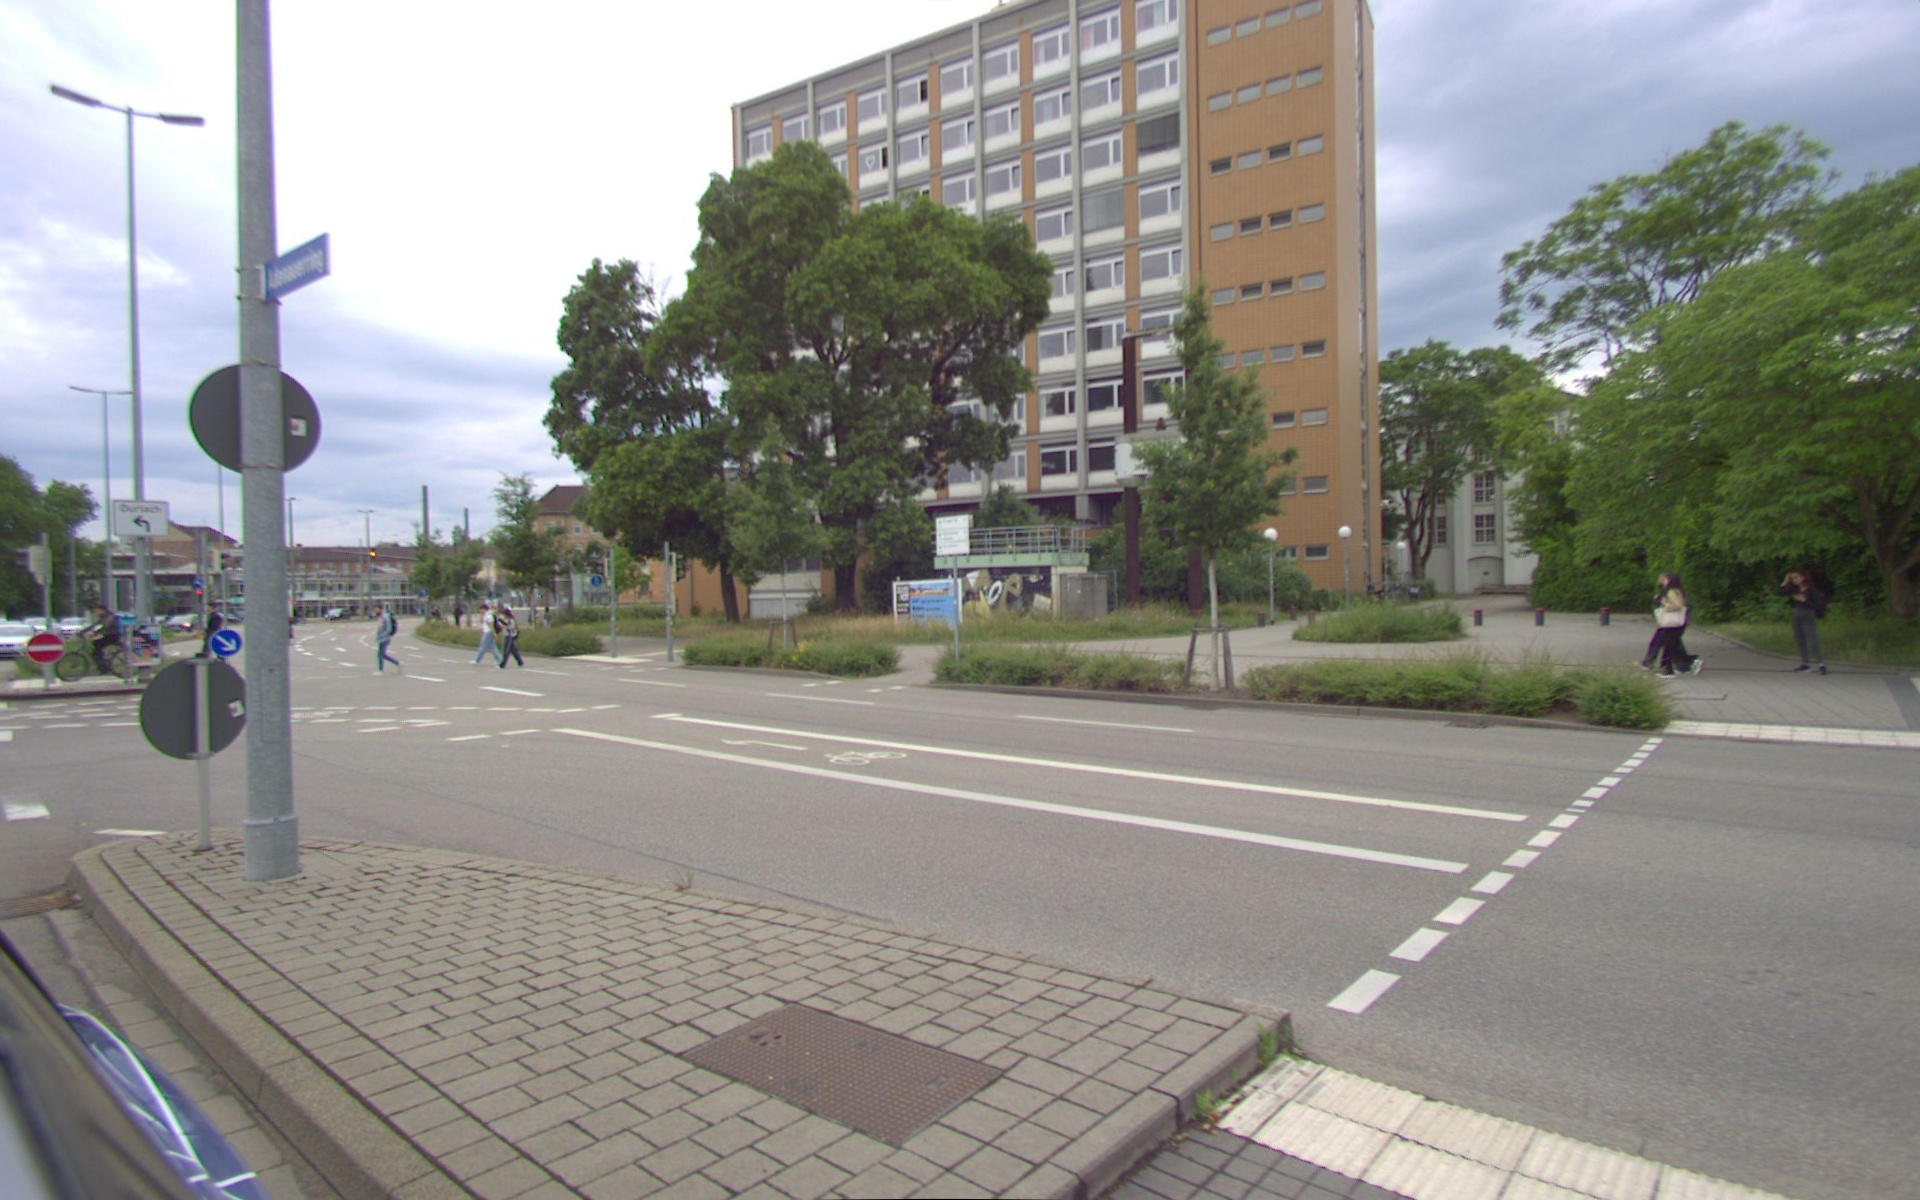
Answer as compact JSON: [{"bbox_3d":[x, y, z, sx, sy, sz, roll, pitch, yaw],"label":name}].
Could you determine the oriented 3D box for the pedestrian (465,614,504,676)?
[{"bbox_3d":[-14.238,1.328,30.329,0.733,1.818,0.765,-2,-2,13],"label":"pedestrian"}]

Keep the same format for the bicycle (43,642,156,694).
[{"bbox_3d":[-21.039,1.645,24.774,0.805,1.151,1.982,-2,-2,36],"label":"bicycle"}]

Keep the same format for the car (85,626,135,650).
[{"bbox_3d":[-67.818,3.035,80.804,1.965,1.829,4.013,-1,-1,-23],"label":"car"}]

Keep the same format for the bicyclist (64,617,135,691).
[{"bbox_3d":[-21.050,1.293,24.775,0.805,1.749,1.177,-2,-2,37],"label":"bicyclist"}]

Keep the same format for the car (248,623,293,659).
[{"bbox_3d":[-35.496,2.082,52.170,1.786,1.679,3.960,0,0,-33],"label":"car"}]

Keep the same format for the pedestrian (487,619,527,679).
[{"bbox_3d":[-12.791,1.375,28.584,0.703,1.680,0.770,-2,-2,27],"label":"pedestrian"}]

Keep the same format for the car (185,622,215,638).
[{"bbox_3d":[-75.973,3.003,101.176,1.583,1.608,3.771,-1,-1,-24],"label":"car"}]

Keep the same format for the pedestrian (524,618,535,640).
[{"bbox_3d":[-33.194,2.242,78.057,0.471,1.633,0.644,-3,-2,43],"label":"pedestrian"}]

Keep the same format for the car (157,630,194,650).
[{"bbox_3d":[-66.627,3.376,86.013,1.583,1.608,3.771,-1,-1,-24],"label":"car"}]

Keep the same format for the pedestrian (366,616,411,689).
[{"bbox_3d":[-14.528,1.316,25.739,0.905,1.818,0.541,0,-2,-39],"label":"pedestrian"}]

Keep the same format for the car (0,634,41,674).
[{"bbox_3d":[-39.541,2.229,41.957,1.758,1.474,3.879,-3,1,-37],"label":"car"}]

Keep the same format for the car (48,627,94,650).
[{"bbox_3d":[-64.870,2.820,73.896,1.775,1.608,3.770,0,-2,-30],"label":"car"}]

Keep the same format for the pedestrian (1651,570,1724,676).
[{"bbox_3d":[11.986,0.367,16.678,0.888,1.683,0.700,-2,0,39],"label":"pedestrian"}]

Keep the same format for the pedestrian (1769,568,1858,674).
[{"bbox_3d":[13.582,0.326,16.127,0.822,1.625,0.632,-3,1,13],"label":"pedestrian"}]

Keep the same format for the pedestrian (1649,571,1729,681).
[{"bbox_3d":[11.518,0.403,15.995,0.942,1.683,0.700,-2,0,39],"label":"pedestrian"}]

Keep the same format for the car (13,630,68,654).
[{"bbox_3d":[-60.543,2.752,66.710,1.789,1.486,4.045,0,-2,-29],"label":"car"}]

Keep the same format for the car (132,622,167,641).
[{"bbox_3d":[-73.439,2.867,91.707,1.583,1.608,3.771,-1,-1,-24],"label":"car"}]
